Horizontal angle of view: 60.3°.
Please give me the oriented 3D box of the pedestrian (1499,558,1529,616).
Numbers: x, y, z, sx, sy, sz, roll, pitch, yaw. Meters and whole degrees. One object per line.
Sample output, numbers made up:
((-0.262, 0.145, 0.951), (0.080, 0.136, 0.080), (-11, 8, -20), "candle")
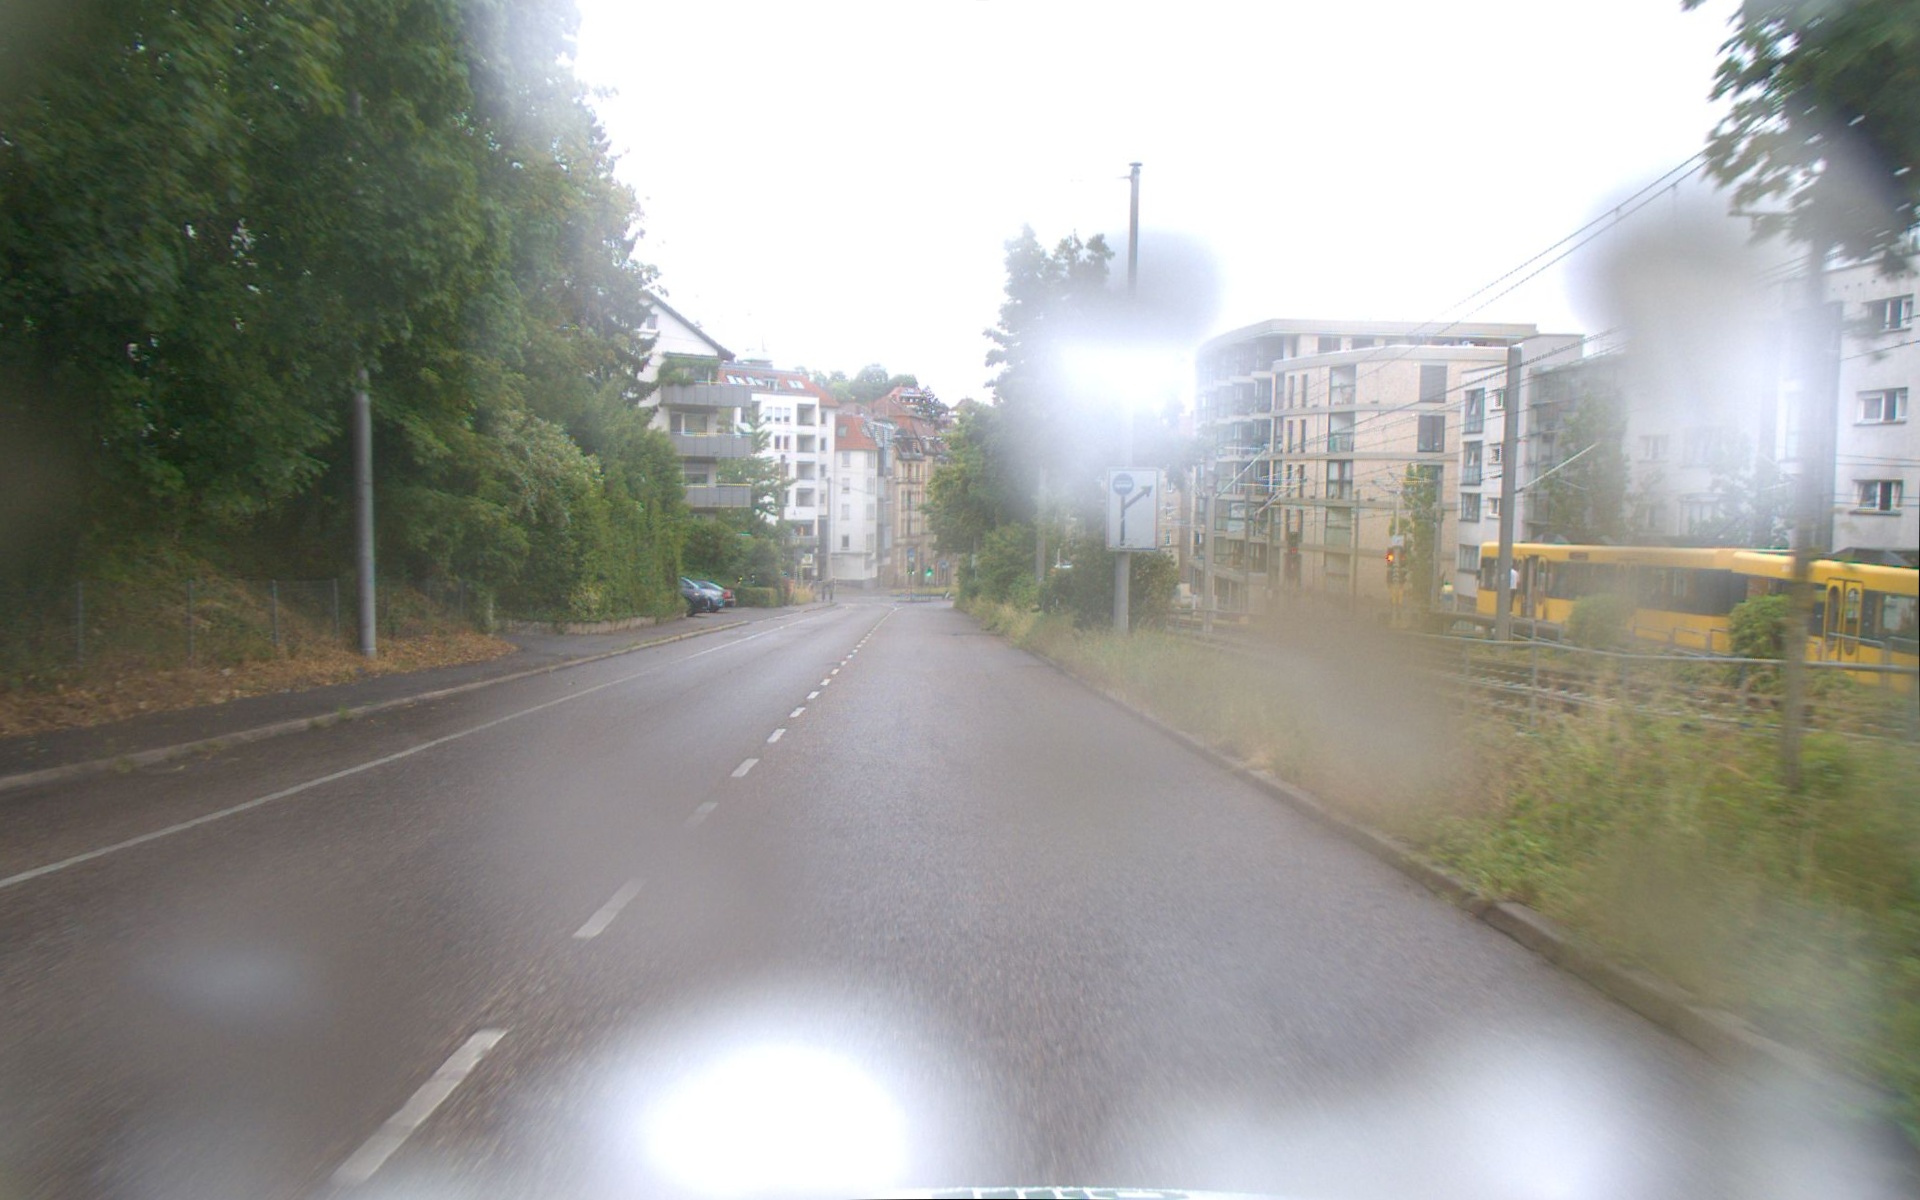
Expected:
((18.579, -0.422, 55.504), (0.707, 1.913, 0.817), (1, -1, -1), "pedestrian")

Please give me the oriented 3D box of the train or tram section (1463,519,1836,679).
((20.600, -0.092, 51.937), (3.263, 4.016, 18.807), (2, 0, -2), "train or tram section")

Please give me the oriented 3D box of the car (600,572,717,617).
((-12.148, -0.217, 66.826), (4.360, 1.630, 1.814), (2, 2, -3), "car")

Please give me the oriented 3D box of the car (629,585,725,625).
((-10.842, 0.193, 63.565), (3.563, 1.430, 1.713), (2, 0, -8), "car")

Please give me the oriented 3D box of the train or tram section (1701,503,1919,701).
((21.145, 0.086, 33.218), (3.263, 4.016, 19.275), (2, 0, -2), "train or tram section")

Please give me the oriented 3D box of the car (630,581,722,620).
((-12.770, 0.021, 74.614), (3.910, 1.587, 1.878), (2, 0, -6), "car")

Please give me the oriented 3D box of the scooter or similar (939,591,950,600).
((-1.422, -0.425, 150.817), (0.475, 0.774, 1.328), (1, 0, 26), "scooter or similar")

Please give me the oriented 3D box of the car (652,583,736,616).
((-12.358, -0.013, 76.930), (3.557, 1.431, 1.783), (2, 0, 0), "car")
